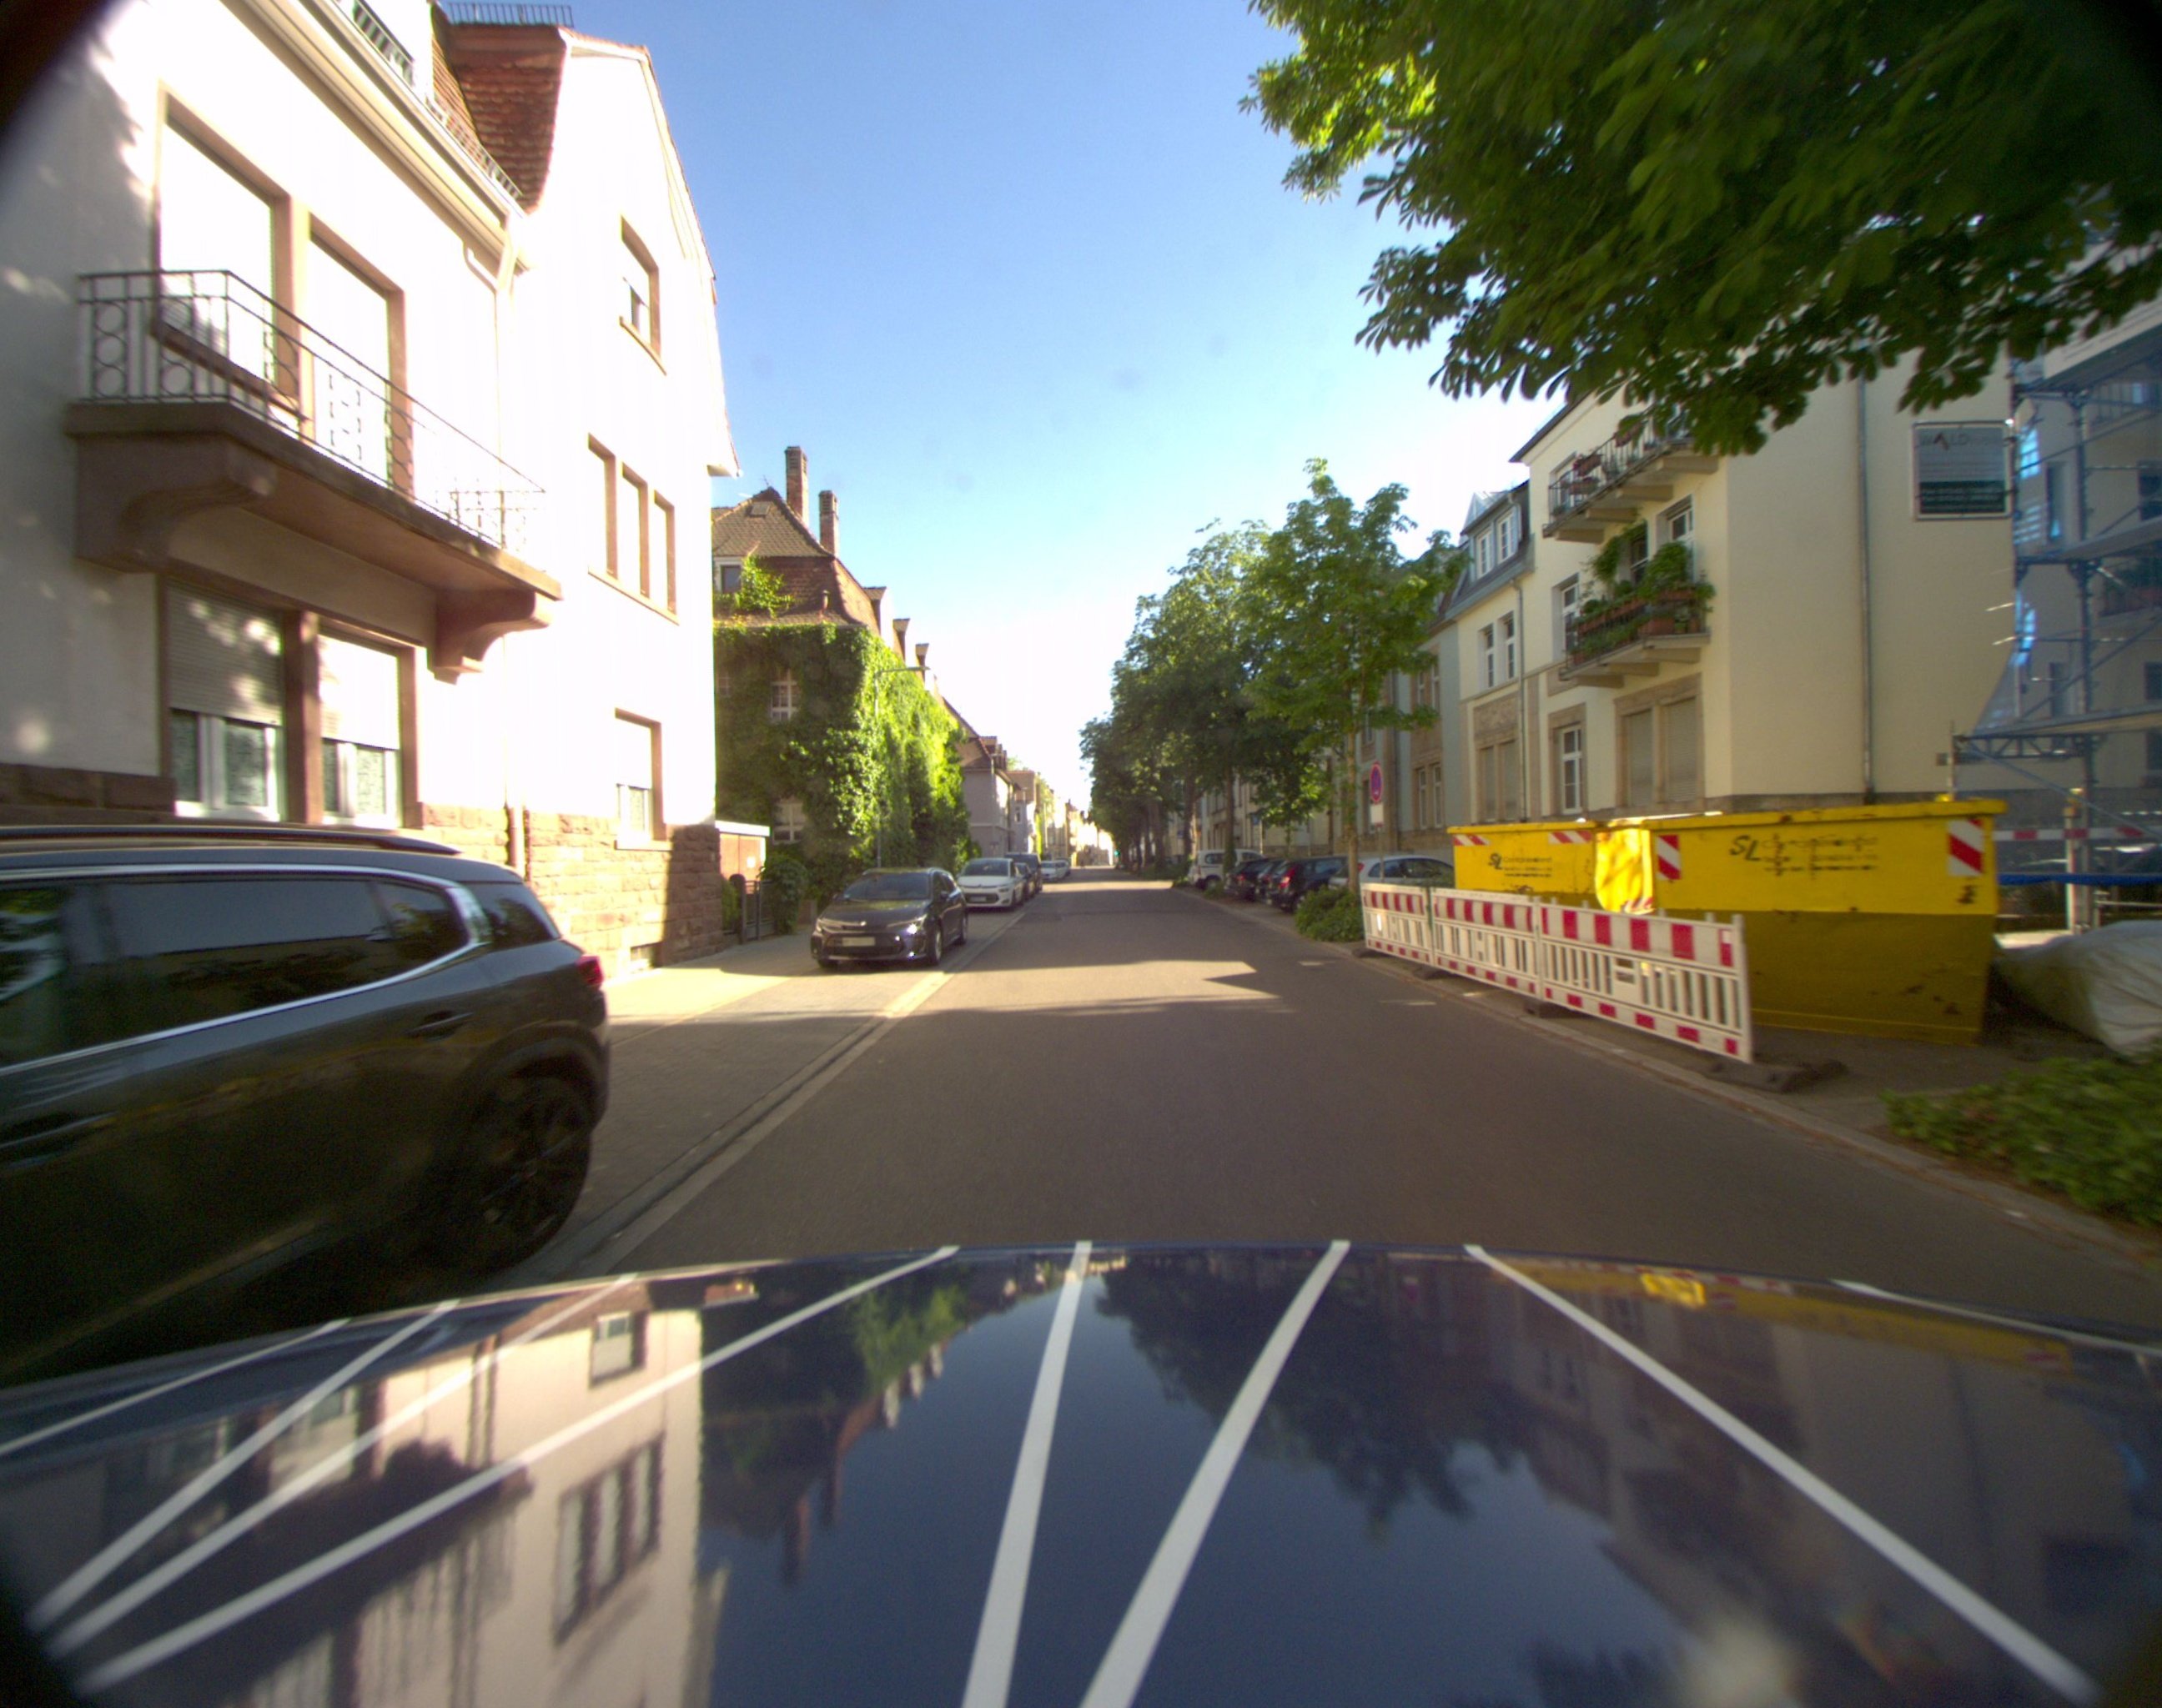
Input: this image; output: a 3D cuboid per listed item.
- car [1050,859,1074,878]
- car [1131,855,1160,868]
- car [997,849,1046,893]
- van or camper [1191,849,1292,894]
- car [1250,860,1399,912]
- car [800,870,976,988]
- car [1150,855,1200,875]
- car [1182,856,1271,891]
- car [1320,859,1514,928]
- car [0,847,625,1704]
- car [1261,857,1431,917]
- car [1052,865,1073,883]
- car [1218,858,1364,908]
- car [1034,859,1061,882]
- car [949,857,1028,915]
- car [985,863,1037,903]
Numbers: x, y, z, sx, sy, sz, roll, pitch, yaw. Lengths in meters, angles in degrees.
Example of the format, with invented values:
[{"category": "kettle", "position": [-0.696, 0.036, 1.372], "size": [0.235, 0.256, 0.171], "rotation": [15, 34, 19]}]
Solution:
[{"category": "car", "position": [-1.696, 1.228, 67.739], "size": [1.822, 1.529, 4.161], "rotation": [-3, 0, 2]}, {"category": "car", "position": [7.974, 0.924, 93.938], "size": [3.496, 1.420, 1.542], "rotation": [-1, 0, 0]}, {"category": "car", "position": [-2.753, 0.764, 36.346], "size": [1.857, 1.897, 4.851], "rotation": [-1, 0, 1]}, {"category": "van or camper", "position": [6.909, 0.760, 33.035], "size": [3.954, 1.762, 1.809], "rotation": [-2, -1, 0]}, {"category": "car", "position": [6.934, 0.899, 21.889], "size": [3.757, 1.422, 1.646], "rotation": [0, 0, 1]}, {"category": "car", "position": [-2.900, 1.051, 12.443], "size": [1.648, 1.445, 4.503], "rotation": [-2, 0, 0]}, {"category": "car", "position": [7.804, 0.889, 62.951], "size": [3.995, 1.424, 1.804], "rotation": [-3, 1, 8]}, {"category": "car", "position": [6.694, 0.885, 35.182], "size": [3.734, 1.507, 1.722], "rotation": [-2, 0, 0]}, {"category": "car", "position": [7.331, 0.831, 16.836], "size": [3.558, 1.440, 1.695], "rotation": [0, 0, 1]}, {"category": "car", "position": [-3.085, 0.897, 1.341], "size": [1.782, 1.686, 4.320], "rotation": [-3, 1, 1]}, {"category": "car", "position": [6.622, 0.822, 19.263], "size": [3.735, 1.456, 1.715], "rotation": [0, -1, 2]}, {"category": "car", "position": [-1.841, 1.966, 77.334], "size": [1.822, 1.634, 4.161], "rotation": [-3, 0, 2]}, {"category": "car", "position": [6.618, 0.886, 24.242], "size": [4.150, 1.392, 1.710], "rotation": [-2, 0, 1]}, {"category": "car", "position": [-2.444, 1.174, 55.741], "size": [1.814, 1.546, 4.106], "rotation": [-1, 0, -1]}, {"category": "car", "position": [-2.810, 0.931, 23.993], "size": [1.872, 1.635, 4.199], "rotation": [0, 0, 1]}, {"category": "car", "position": [-2.689, 1.081, 30.016], "size": [1.641, 1.413, 4.008], "rotation": [-1, 0, 0]}]
